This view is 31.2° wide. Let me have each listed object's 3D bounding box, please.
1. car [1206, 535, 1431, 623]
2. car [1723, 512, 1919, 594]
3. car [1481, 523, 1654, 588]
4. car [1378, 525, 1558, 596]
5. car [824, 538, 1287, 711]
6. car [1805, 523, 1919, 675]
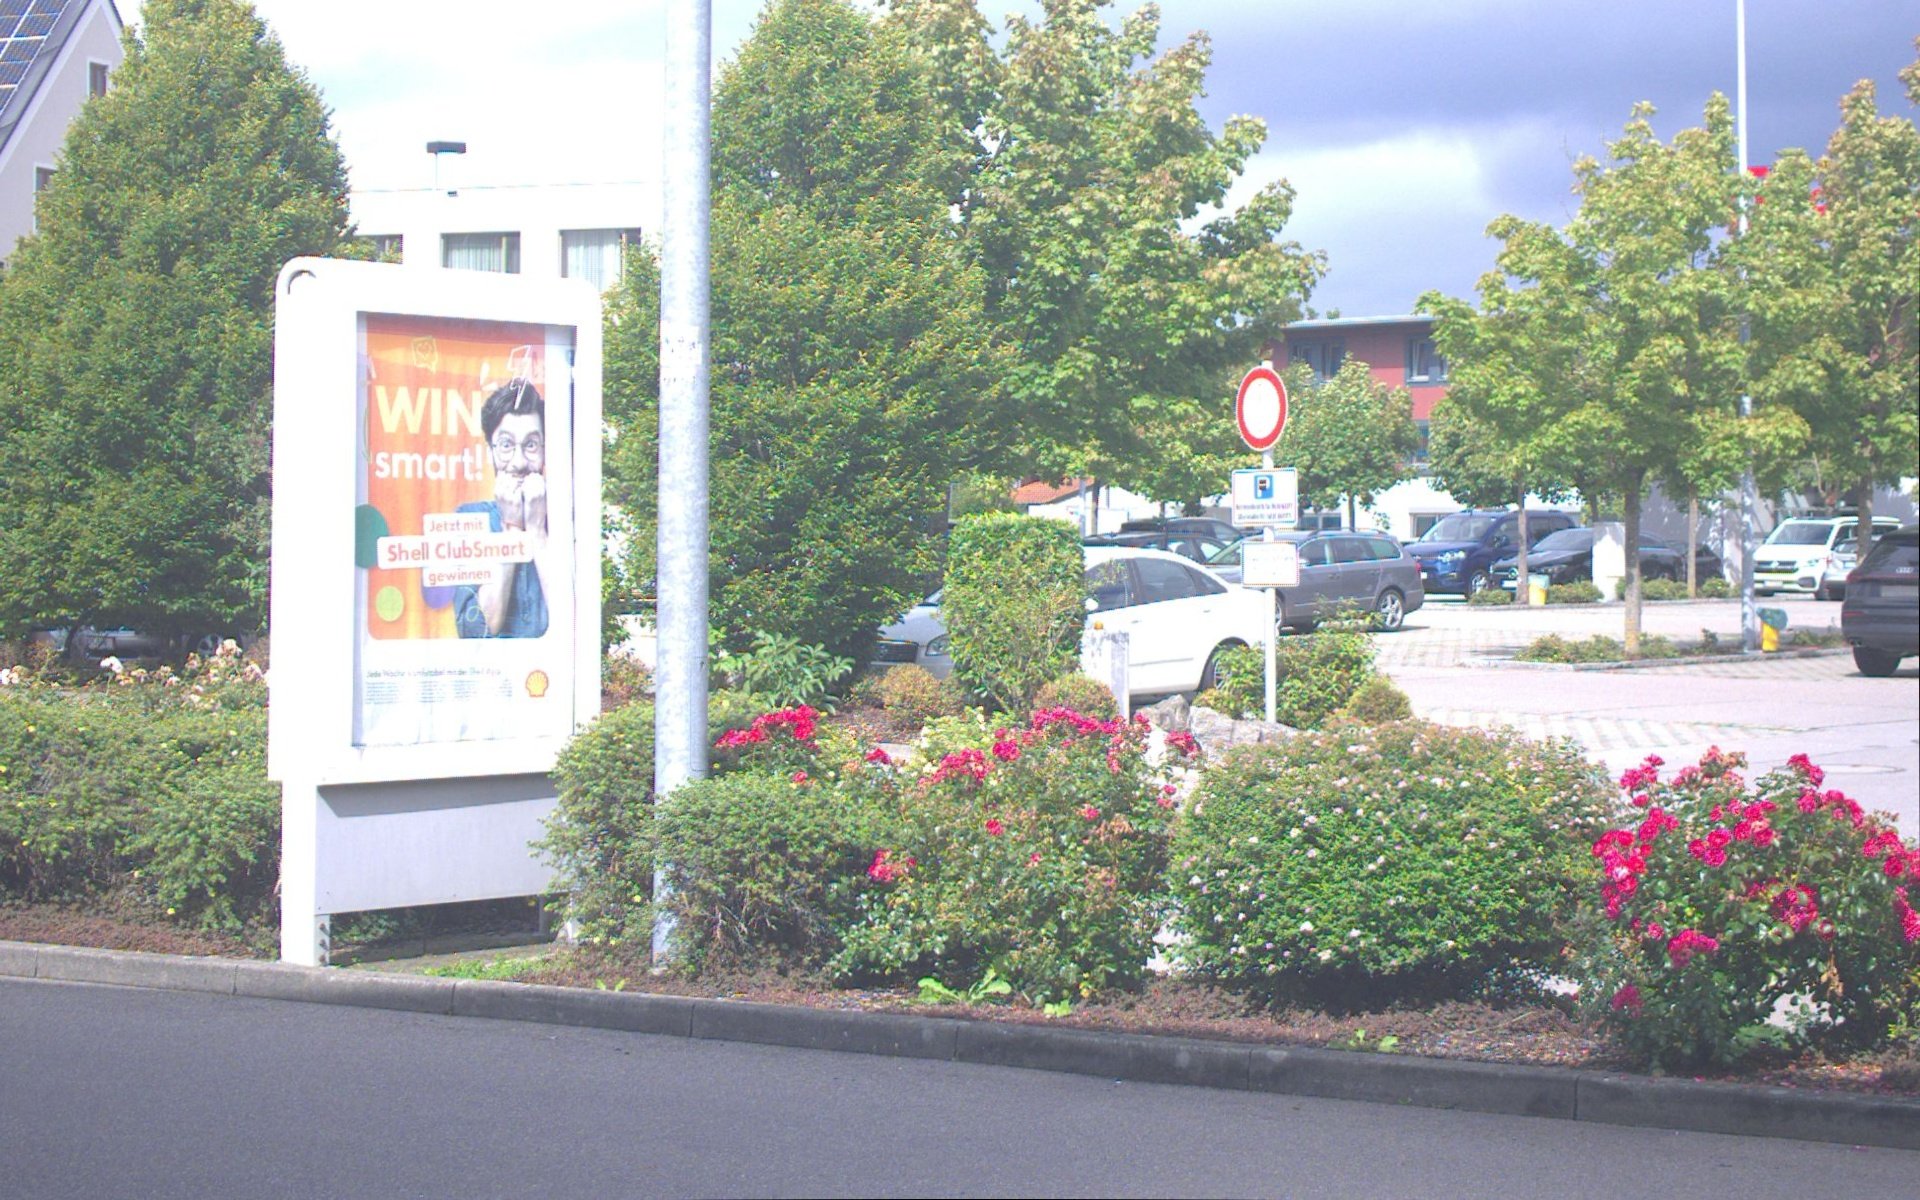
[{"bbox_3d":[5.200,-0.293,49.719,3.218,1.224,1.505,0,1,-44],"label":"car"},{"bbox_3d":[20.248,-1.087,80.644,4.864,1.827,2.184,0,1,-43],"label":"car"},{"bbox_3d":[11.514,-0.842,65.038,3.409,1.174,1.485,0,1,-44],"label":"car"},{"bbox_3d":[9.885,-0.761,66.786,3.379,1.316,1.747,0,1,-44],"label":"car"},{"bbox_3d":[0.901,0.199,29.930,4.332,1.399,1.370,0,1,-44],"label":"car"},{"bbox_3d":[11.130,-0.010,36.733,4.491,1.543,1.885,0,1,-43],"label":"car"}]
